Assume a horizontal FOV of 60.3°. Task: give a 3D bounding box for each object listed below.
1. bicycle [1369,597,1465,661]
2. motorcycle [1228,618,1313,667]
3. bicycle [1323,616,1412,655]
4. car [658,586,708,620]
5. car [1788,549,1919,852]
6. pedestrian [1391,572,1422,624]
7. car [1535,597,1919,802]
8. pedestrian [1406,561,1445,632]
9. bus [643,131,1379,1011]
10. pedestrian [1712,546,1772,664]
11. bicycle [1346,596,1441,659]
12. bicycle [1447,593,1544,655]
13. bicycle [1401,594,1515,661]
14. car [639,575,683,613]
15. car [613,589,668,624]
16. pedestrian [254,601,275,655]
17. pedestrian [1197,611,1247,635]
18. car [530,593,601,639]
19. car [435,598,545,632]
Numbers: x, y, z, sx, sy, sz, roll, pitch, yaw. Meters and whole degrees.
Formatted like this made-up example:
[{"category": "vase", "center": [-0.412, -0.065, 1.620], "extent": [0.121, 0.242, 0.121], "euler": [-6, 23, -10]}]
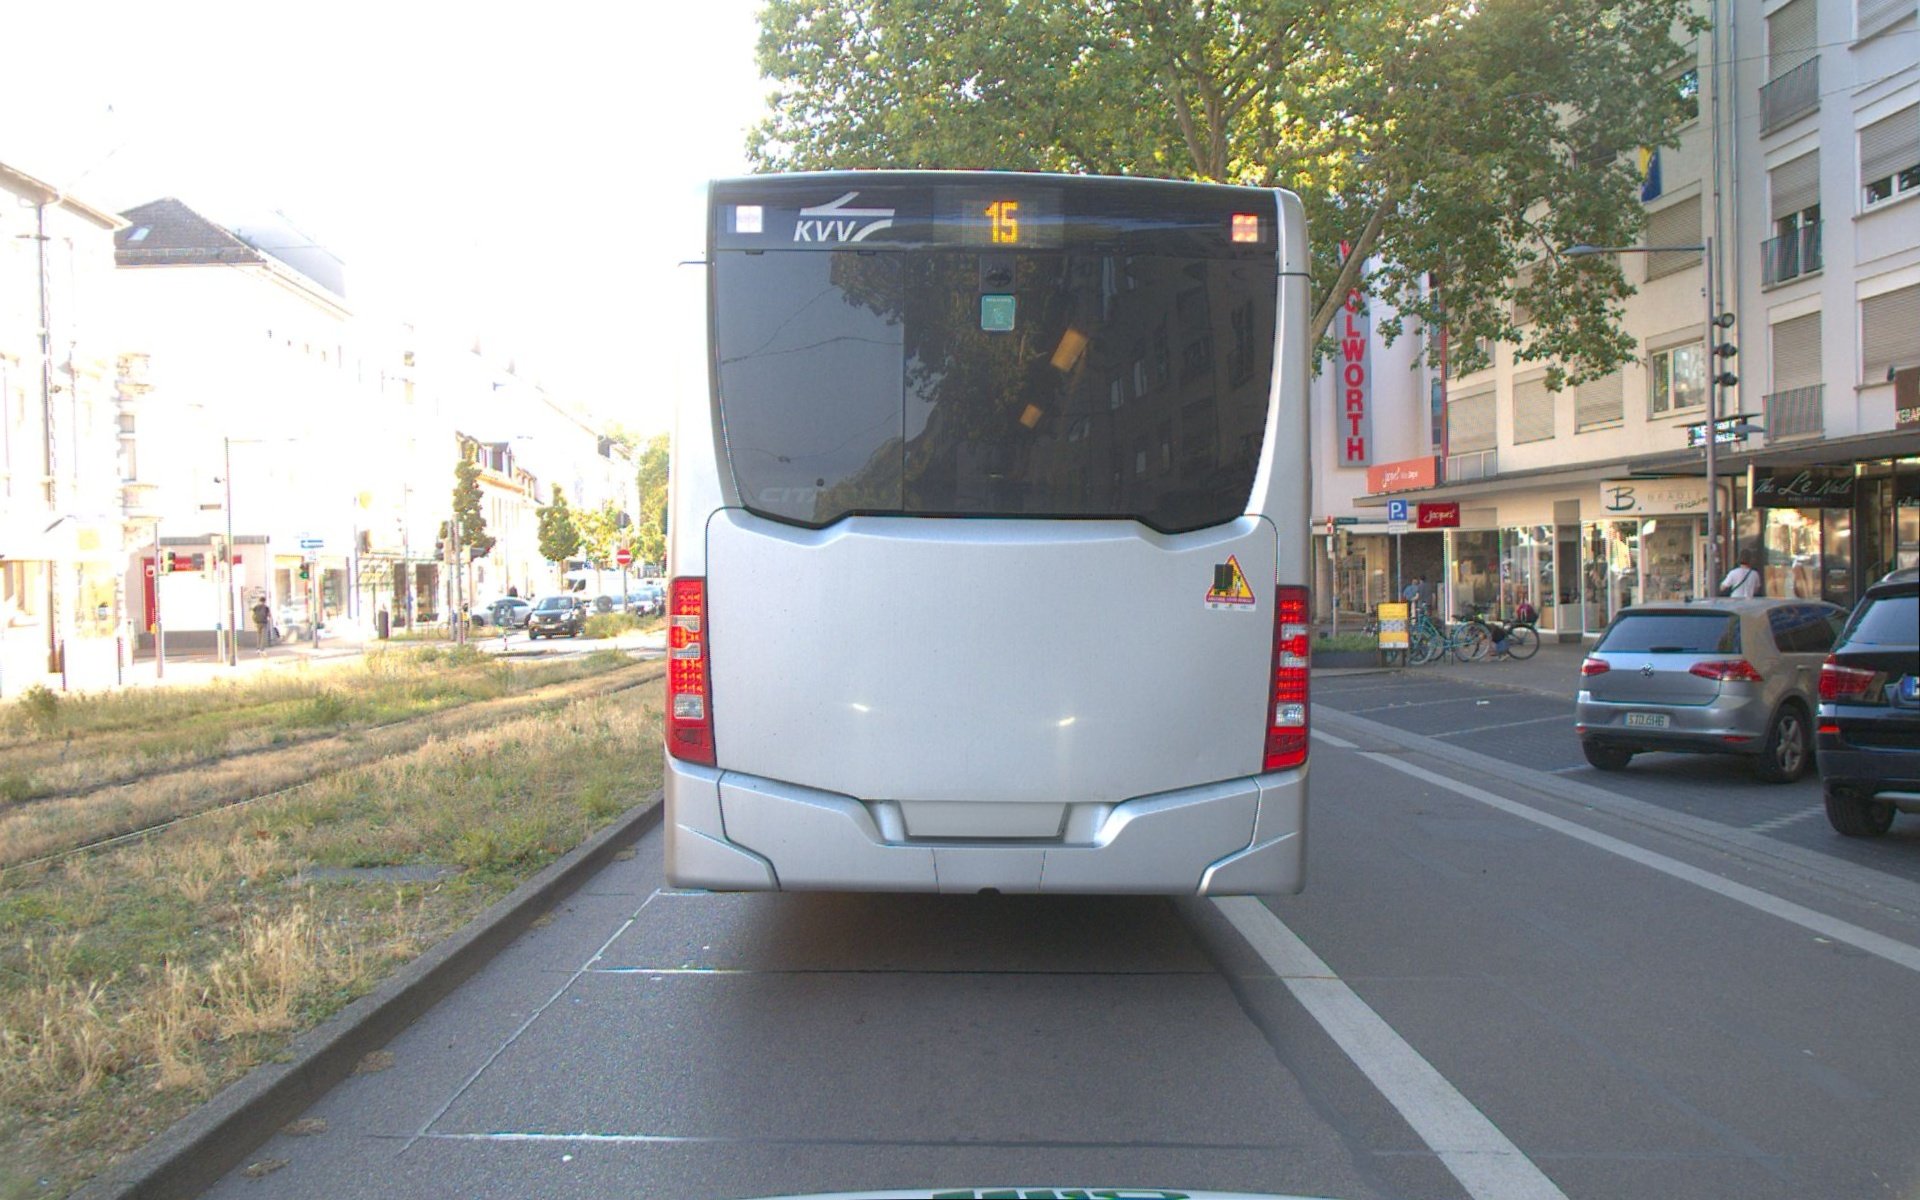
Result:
[{"category": "bicycle", "center": [9.566, 0.603, 34.634], "extent": [1.753, 1.210, 0.671], "euler": [-4, 0, -9]}, {"category": "motorcycle", "center": [6.072, 0.828, 32.360], "extent": [1.539, 0.908, 0.544], "euler": [-2, 0, -4]}, {"category": "bicycle", "center": [9.018, 0.778, 36.632], "extent": [1.836, 0.778, 0.712], "euler": [-1, 2, 8]}, {"category": "car", "center": [-14.788, 0.118, 88.616], "extent": [1.744, 1.643, 4.509], "euler": [-3, 1, 1]}, {"category": "car", "center": [7.071, 0.522, 10.558], "extent": [4.115, 1.710, 1.782], "euler": [-2, 0, -42]}, {"category": "pedestrian", "center": [15.132, -0.084, 56.045], "extent": [0.733, 1.708, 0.834], "euler": [-1, 2, -7]}, {"category": "car", "center": [7.020, 0.759, 14.563], "extent": [4.136, 1.477, 1.785], "euler": [-2, 0, -39]}, {"category": "pedestrian", "center": [12.255, -0.096, 43.549], "extent": [0.764, 1.825, 0.764], "euler": [-1, 0, -1]}, {"category": "bus", "center": [0.210, -0.148, 9.455], "extent": [2.623, 3.137, 7.114], "euler": [0, 1, 0]}, {"category": "pedestrian", "center": [12.875, 0.079, 27.260], "extent": [0.629, 1.909, 0.825], "euler": [-1, 0, 7]}, {"category": "bicycle", "center": [9.325, 0.590, 35.636], "extent": [1.836, 1.210, 0.712], "euler": [-4, 0, 8]}, {"category": "bicycle", "center": [10.856, 0.486, 33.570], "extent": [1.727, 1.174, 0.679], "euler": [-3, 0, 8]}, {"category": "bicycle", "center": [9.986, 0.544, 33.213], "extent": [2.037, 1.254, 0.832], "euler": [-2, 0, 4]}, {"category": "car", "center": [-17.059, -0.339, 94.487], "extent": [1.954, 2.049, 3.997], "euler": [-1, 0, -3]}, {"category": "car", "center": [-15.543, 0.284, 80.666], "extent": [1.744, 1.475, 4.045], "euler": [-3, 2, 1]}, {"category": "pedestrian", "center": [-22.794, 0.900, 54.181], "extent": [0.417, 1.743, 0.508], "euler": [-1, 0, 3]}, {"category": "pedestrian", "center": [6.848, 0.608, 43.291], "extent": [1.229, 0.599, 0.482], "euler": [-1, 0, -3]}, {"category": "car", "center": [-14.524, 0.558, 61.019], "extent": [1.687, 1.535, 3.476], "euler": [-4, 0, 0]}, {"category": "car", "center": [-21.624, 0.687, 76.175], "extent": [4.504, 1.437, 1.974], "euler": [-2, 0, -37]}]
